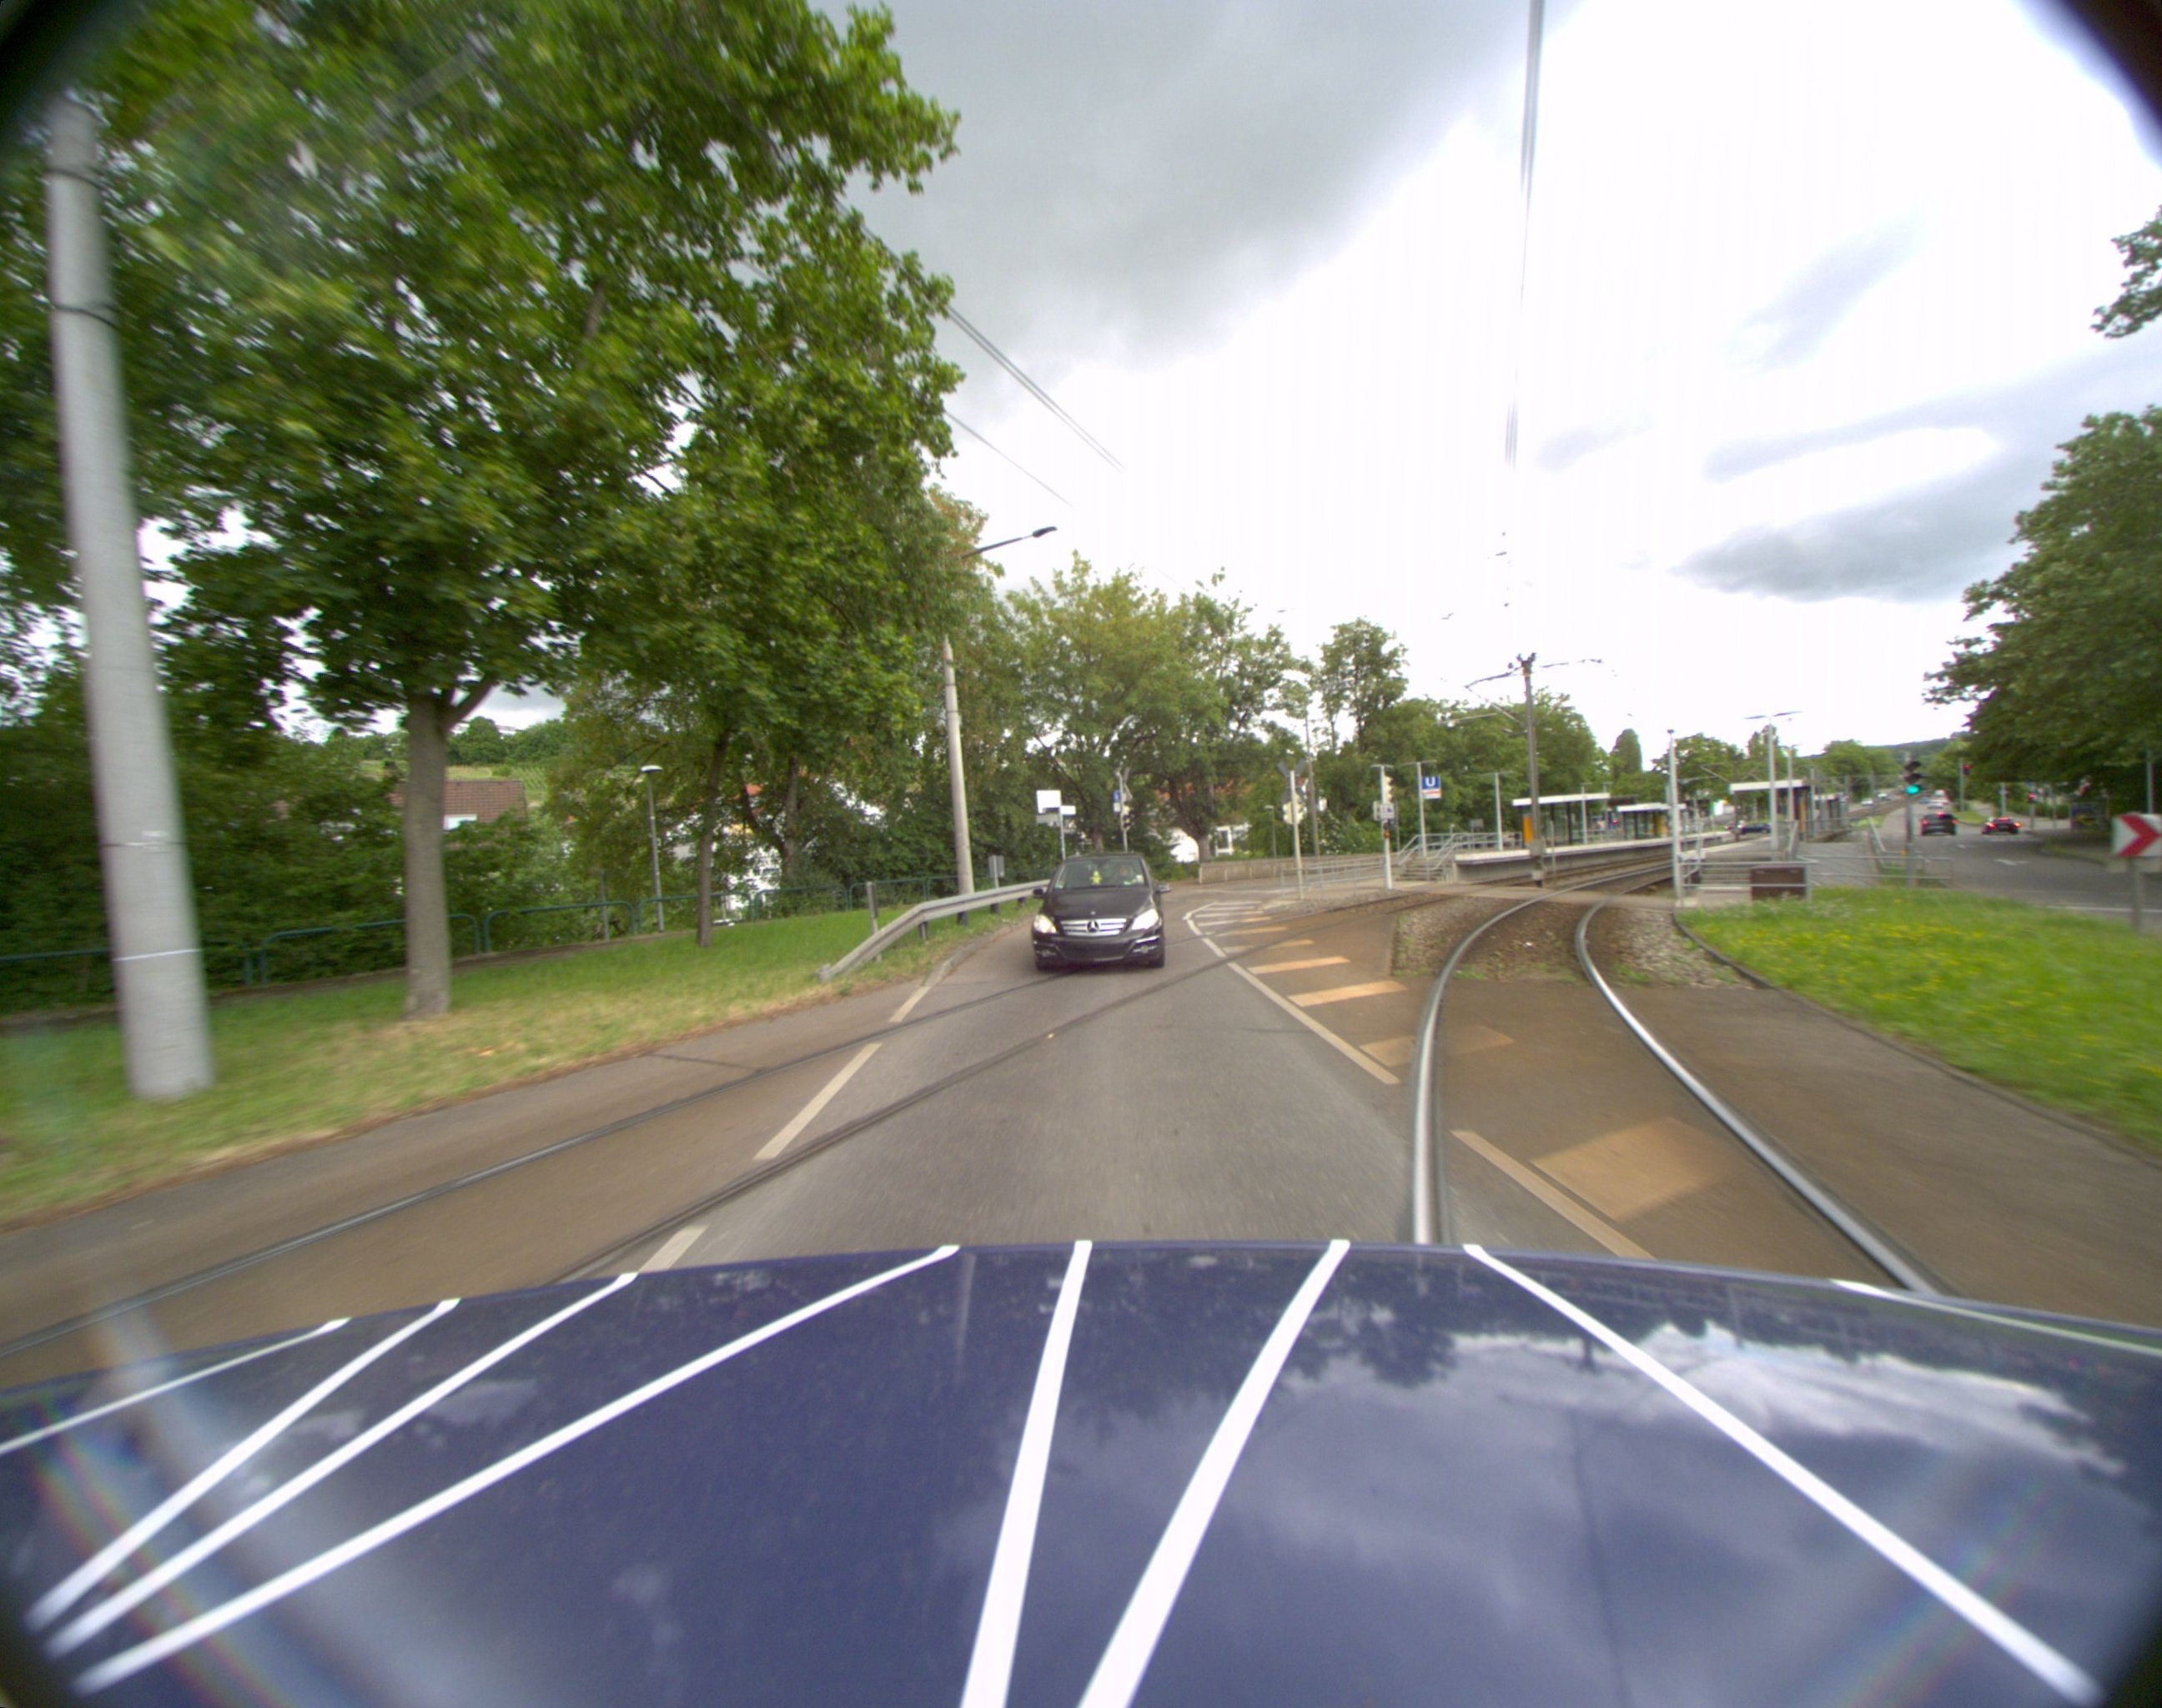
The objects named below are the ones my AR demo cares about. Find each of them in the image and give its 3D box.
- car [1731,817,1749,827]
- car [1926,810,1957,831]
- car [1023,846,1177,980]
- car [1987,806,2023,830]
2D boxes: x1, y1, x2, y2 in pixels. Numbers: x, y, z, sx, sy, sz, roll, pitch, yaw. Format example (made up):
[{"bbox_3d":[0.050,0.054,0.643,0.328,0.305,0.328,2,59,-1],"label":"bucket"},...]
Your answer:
[{"bbox_3d":[98.021,-4.746,112.993,1.712,1.277,3.581,-1,2,45],"label":"car"},{"bbox_3d":[75.891,-2.954,67.054,3.801,1.689,1.767,-3,2,-42],"label":"car"},{"bbox_3d":[0.508,0.722,11.661,1.710,1.574,4.444,-2,1,9],"label":"car"},{"bbox_3d":[77.763,-3.037,63.964,3.806,1.829,1.737,-3,2,-42],"label":"car"}]
